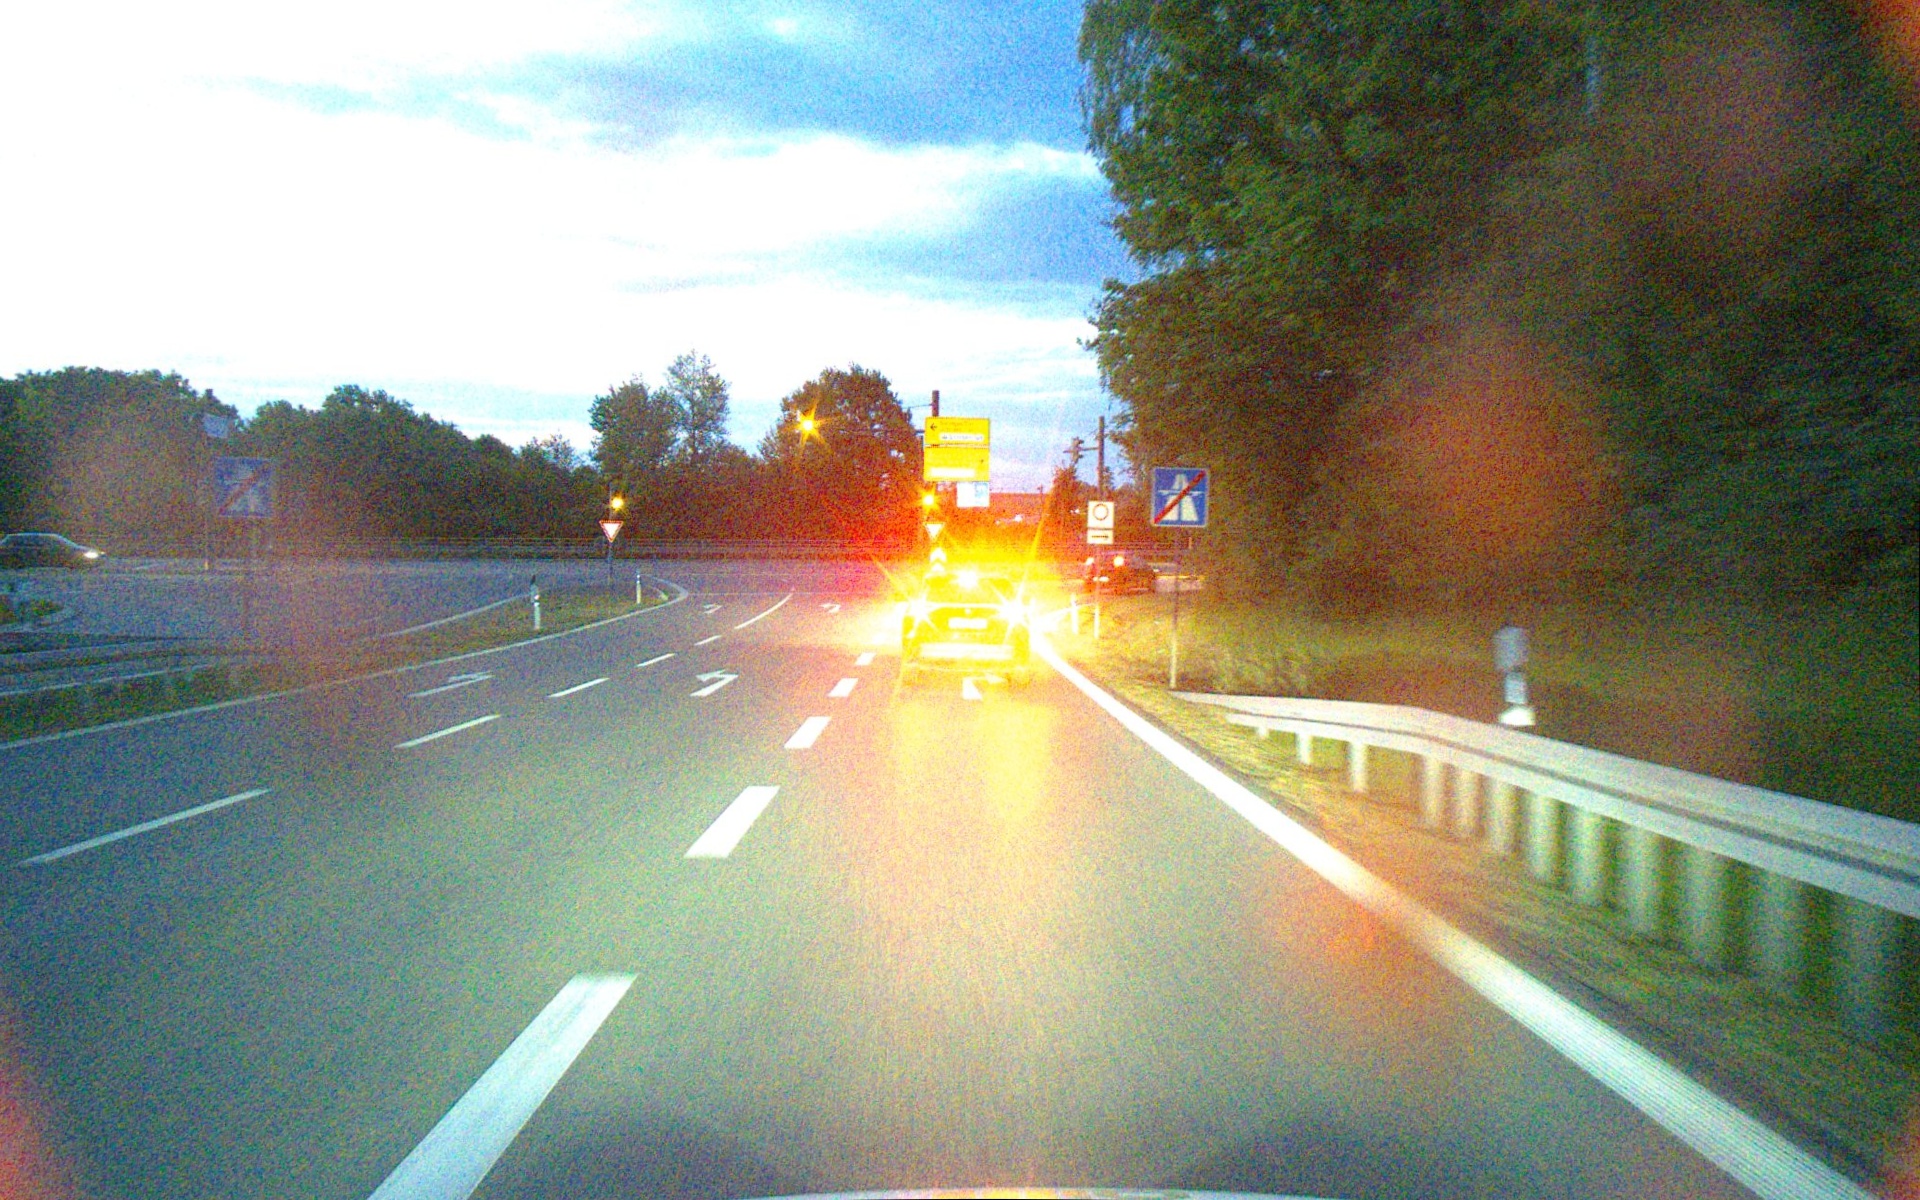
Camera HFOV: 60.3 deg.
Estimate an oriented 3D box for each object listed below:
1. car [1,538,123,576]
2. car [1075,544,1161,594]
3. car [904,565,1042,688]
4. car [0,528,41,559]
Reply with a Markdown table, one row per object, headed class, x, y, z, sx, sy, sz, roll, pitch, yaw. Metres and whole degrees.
| class | x | y | z | sx | sy | sz | roll | pitch | yaw |
| --- | --- | --- | --- | --- | --- | --- | --- | --- | --- |
| car | -36.145 | -1.735 | 66.655 | 3.922 | 1.478 | 1.992 | -1 | 1 | -16 |
| car | 5.789 | -1.095 | 60.179 | 1.747 | 1.682 | 3.995 | 0 | -1 | 27 |
| car | 0.100 | 0.354 | 24.657 | 1.862 | 1.648 | 4.554 | 0 | 0 | -2 |
| car | -47.474 | -2.809 | 80.939 | 3.921 | 1.478 | 1.992 | 2 | 1 | -15 |
